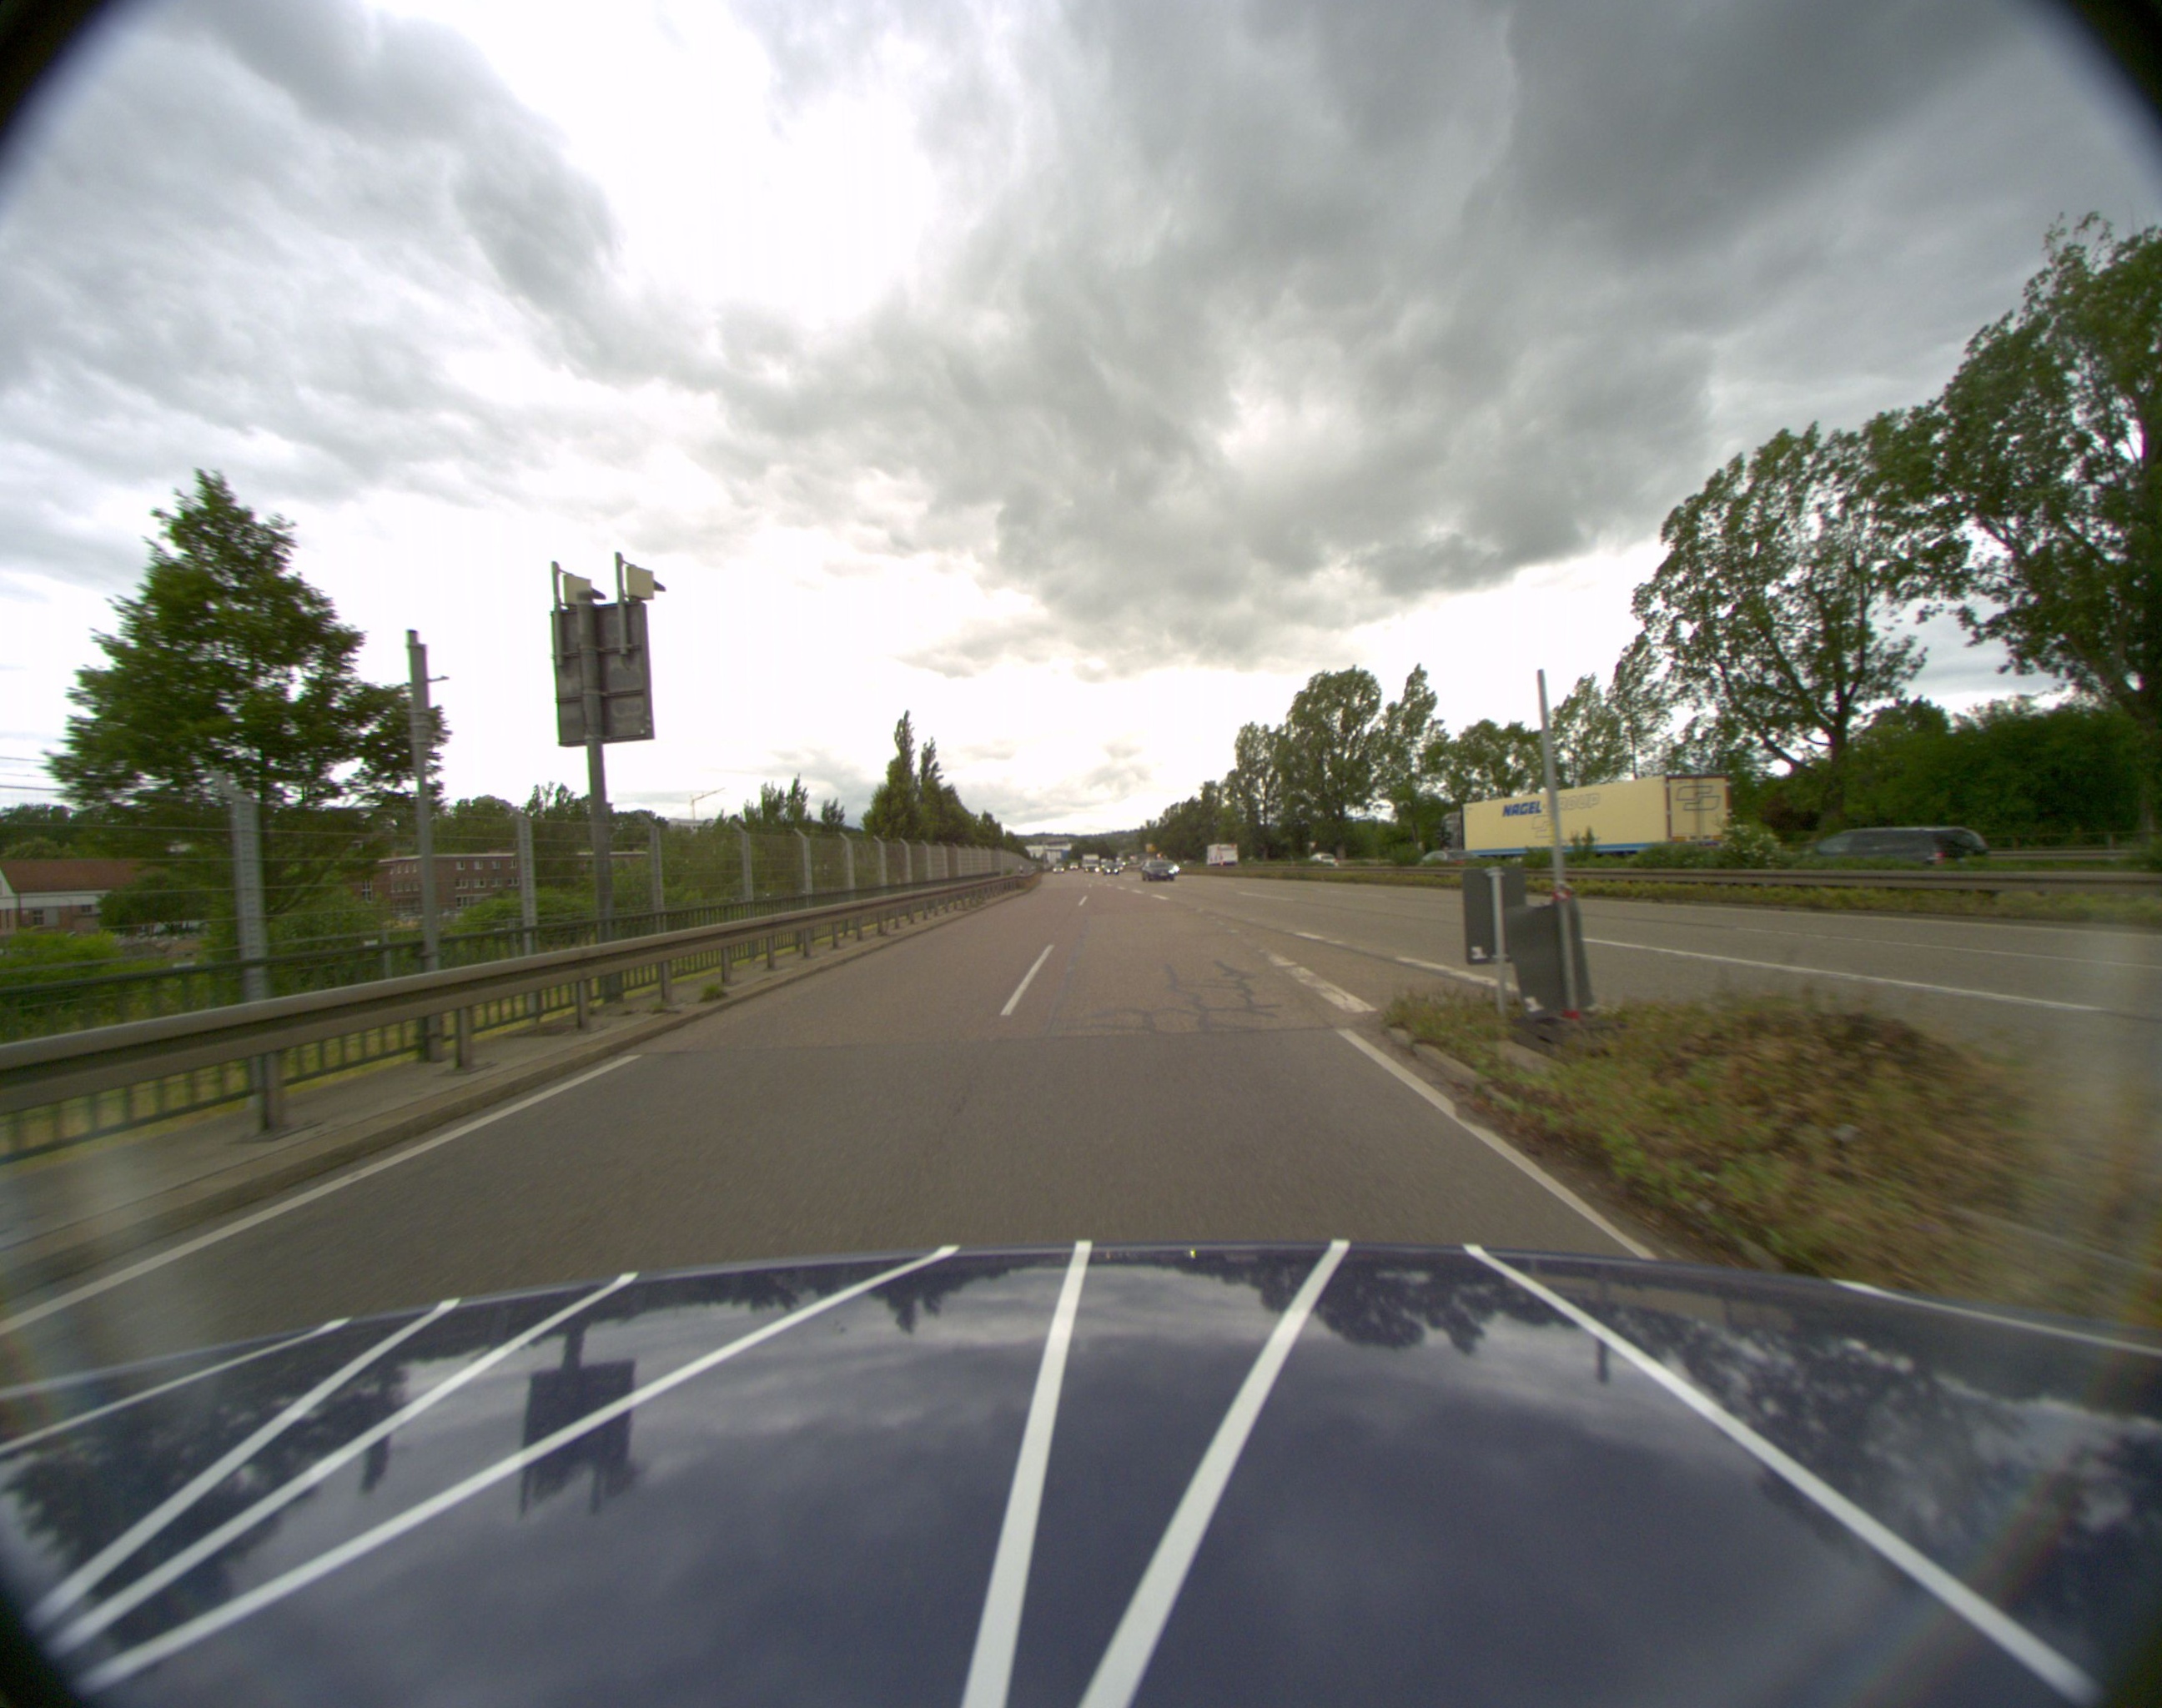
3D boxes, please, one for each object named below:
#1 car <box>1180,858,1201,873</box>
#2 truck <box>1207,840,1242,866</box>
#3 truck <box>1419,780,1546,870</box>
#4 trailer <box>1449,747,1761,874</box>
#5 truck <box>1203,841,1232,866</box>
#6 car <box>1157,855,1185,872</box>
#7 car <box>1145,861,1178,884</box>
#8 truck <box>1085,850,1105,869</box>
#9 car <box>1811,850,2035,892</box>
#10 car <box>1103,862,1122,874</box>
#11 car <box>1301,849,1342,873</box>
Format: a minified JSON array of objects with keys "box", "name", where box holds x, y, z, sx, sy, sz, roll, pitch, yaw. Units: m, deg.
[{"box":[16.020,1.669,111.135,2.000,2.002,3.998,-4,0,-7],"name":"car"},{"box":[21.237,-0.088,112.774,2.992,3.622,6.334,-4,0,-7],"name":"truck"},{"box":[22.898,-1.550,43.779,3.473,4.645,6.209,-3,0,-5],"name":"truck"},{"box":[23.520,-1.613,36.226,3.473,4.645,14.776,-3,0,-5],"name":"trailer"},{"box":[20.812,-0.035,116.243,2.993,3.621,3.998,-4,0,-7],"name":"truck"},{"box":[8.647,0.905,73.317,1.860,1.491,3.999,-2,-1,-5],"name":"car"},{"box":[5.611,1.254,53.144,1.940,1.492,4.305,-2,-1,2],"name":"car"},{"box":[2.368,0.913,132.458,3.040,3.140,7.566,-2,1,-2],"name":"truck"},{"box":[21.552,0.436,19.682,1.656,0.926,3.616,-2,-1,-3],"name":"car"},{"box":[3.779,1.644,91.391,1.729,1.319,3.646,-2,-1,-5],"name":"car"},{"box":[18.752,0.565,59.345,1.784,1.796,3.571,-2,-1,-4],"name":"car"}]
